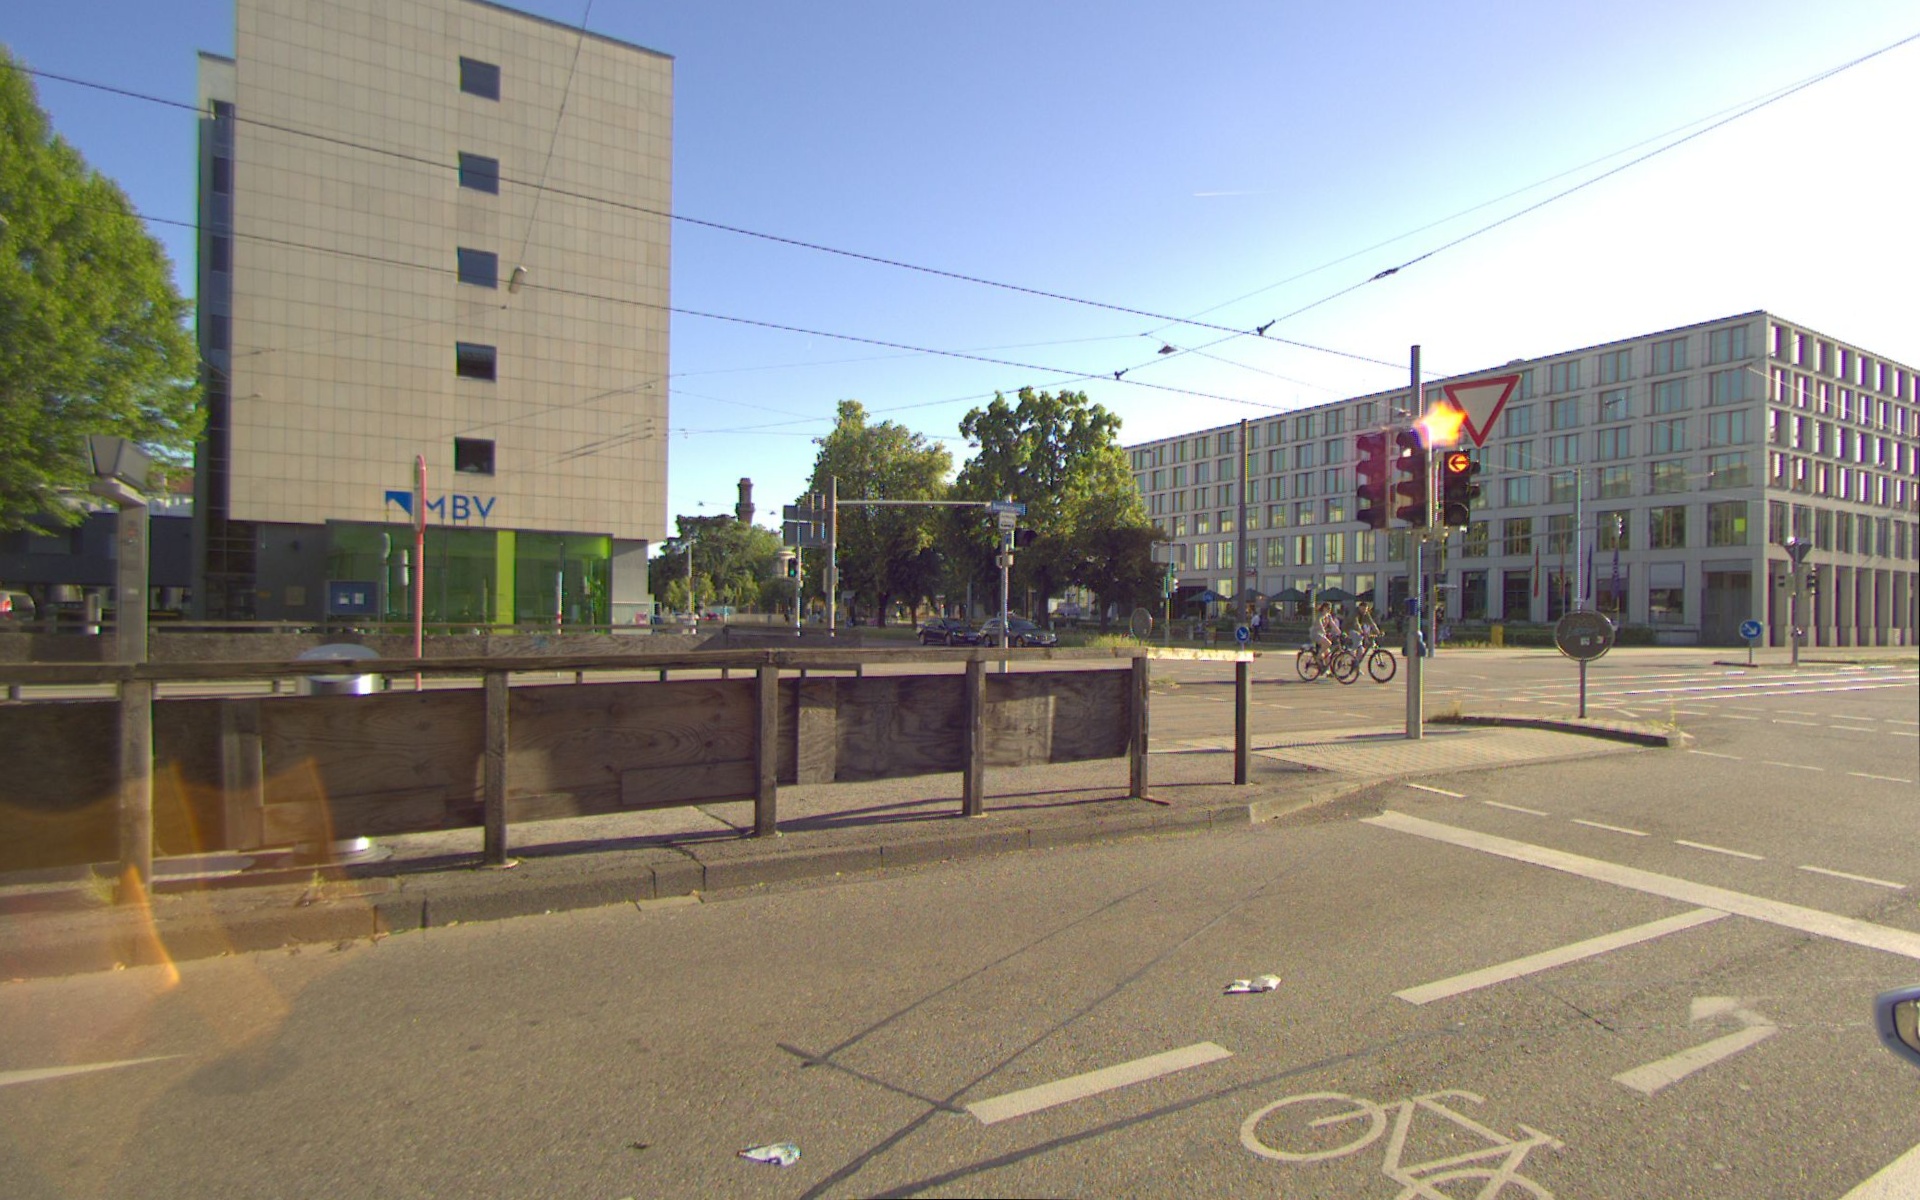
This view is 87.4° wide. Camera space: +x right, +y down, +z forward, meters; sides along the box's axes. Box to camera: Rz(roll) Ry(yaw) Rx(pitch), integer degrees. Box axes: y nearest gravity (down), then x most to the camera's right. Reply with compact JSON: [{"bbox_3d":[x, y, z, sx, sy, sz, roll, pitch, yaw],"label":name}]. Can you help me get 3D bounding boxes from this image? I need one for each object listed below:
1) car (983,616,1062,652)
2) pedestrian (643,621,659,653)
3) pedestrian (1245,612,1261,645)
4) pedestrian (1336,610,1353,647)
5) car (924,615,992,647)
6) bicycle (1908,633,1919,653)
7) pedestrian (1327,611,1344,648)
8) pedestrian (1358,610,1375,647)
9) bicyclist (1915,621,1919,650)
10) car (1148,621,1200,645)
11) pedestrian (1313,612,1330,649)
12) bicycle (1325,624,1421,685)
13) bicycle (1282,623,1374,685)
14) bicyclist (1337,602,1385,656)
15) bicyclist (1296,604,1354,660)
[{"bbox_3d":[2.911,1.572,47.443,1.708,1.595,4.140,1,-1,-31],"label":"car"},{"bbox_3d":[-15.190,1.822,49.318,0.593,1.561,0.620,1,-1,-32],"label":"pedestrian"},{"bbox_3d":[17.270,1.699,59.185,0.672,1.928,0.560,1,-1,-21],"label":"pedestrian"},{"bbox_3d":[21.463,1.581,56.052,0.793,2.040,0.526,1,-1,-36],"label":"pedestrian"},{"bbox_3d":[-0.144,1.593,52.354,1.801,1.595,3.967,0,0,-31],"label":"car"},{"bbox_3d":[54.817,2.441,56.842,2.976,1.136,0.871,1,-1,-29],"label":"bicycle"},{"bbox_3d":[20.759,1.646,55.548,0.793,2.040,0.526,1,-1,-36],"label":"pedestrian"},{"bbox_3d":[22.132,1.552,54.731,0.793,2.040,0.526,1,-1,-36],"label":"pedestrian"},{"bbox_3d":[54.765,2.016,56.802,0.812,1.663,0.872,1,-1,-29],"label":"bicyclist"},{"bbox_3d":[13.460,2.084,63.421,1.455,1.457,3.168,1,-1,-31],"label":"car"},{"bbox_3d":[19.769,1.656,54.882,0.793,2.040,0.526,1,-1,-36],"label":"pedestrian"},{"bbox_3d":[9.459,1.227,23.088,0.783,1.308,1.975,1,-1,-31],"label":"bicycle"},{"bbox_3d":[8.197,1.185,22.428,0.783,1.308,1.840,1,-1,-33],"label":"bicycle"},{"bbox_3d":[9.322,0.675,23.352,0.788,1.235,0.717,1,-1,-31],"label":"bicyclist"},{"bbox_3d":[8.170,0.708,22.503,0.788,1.235,0.920,1,-1,-33],"label":"bicyclist"}]
